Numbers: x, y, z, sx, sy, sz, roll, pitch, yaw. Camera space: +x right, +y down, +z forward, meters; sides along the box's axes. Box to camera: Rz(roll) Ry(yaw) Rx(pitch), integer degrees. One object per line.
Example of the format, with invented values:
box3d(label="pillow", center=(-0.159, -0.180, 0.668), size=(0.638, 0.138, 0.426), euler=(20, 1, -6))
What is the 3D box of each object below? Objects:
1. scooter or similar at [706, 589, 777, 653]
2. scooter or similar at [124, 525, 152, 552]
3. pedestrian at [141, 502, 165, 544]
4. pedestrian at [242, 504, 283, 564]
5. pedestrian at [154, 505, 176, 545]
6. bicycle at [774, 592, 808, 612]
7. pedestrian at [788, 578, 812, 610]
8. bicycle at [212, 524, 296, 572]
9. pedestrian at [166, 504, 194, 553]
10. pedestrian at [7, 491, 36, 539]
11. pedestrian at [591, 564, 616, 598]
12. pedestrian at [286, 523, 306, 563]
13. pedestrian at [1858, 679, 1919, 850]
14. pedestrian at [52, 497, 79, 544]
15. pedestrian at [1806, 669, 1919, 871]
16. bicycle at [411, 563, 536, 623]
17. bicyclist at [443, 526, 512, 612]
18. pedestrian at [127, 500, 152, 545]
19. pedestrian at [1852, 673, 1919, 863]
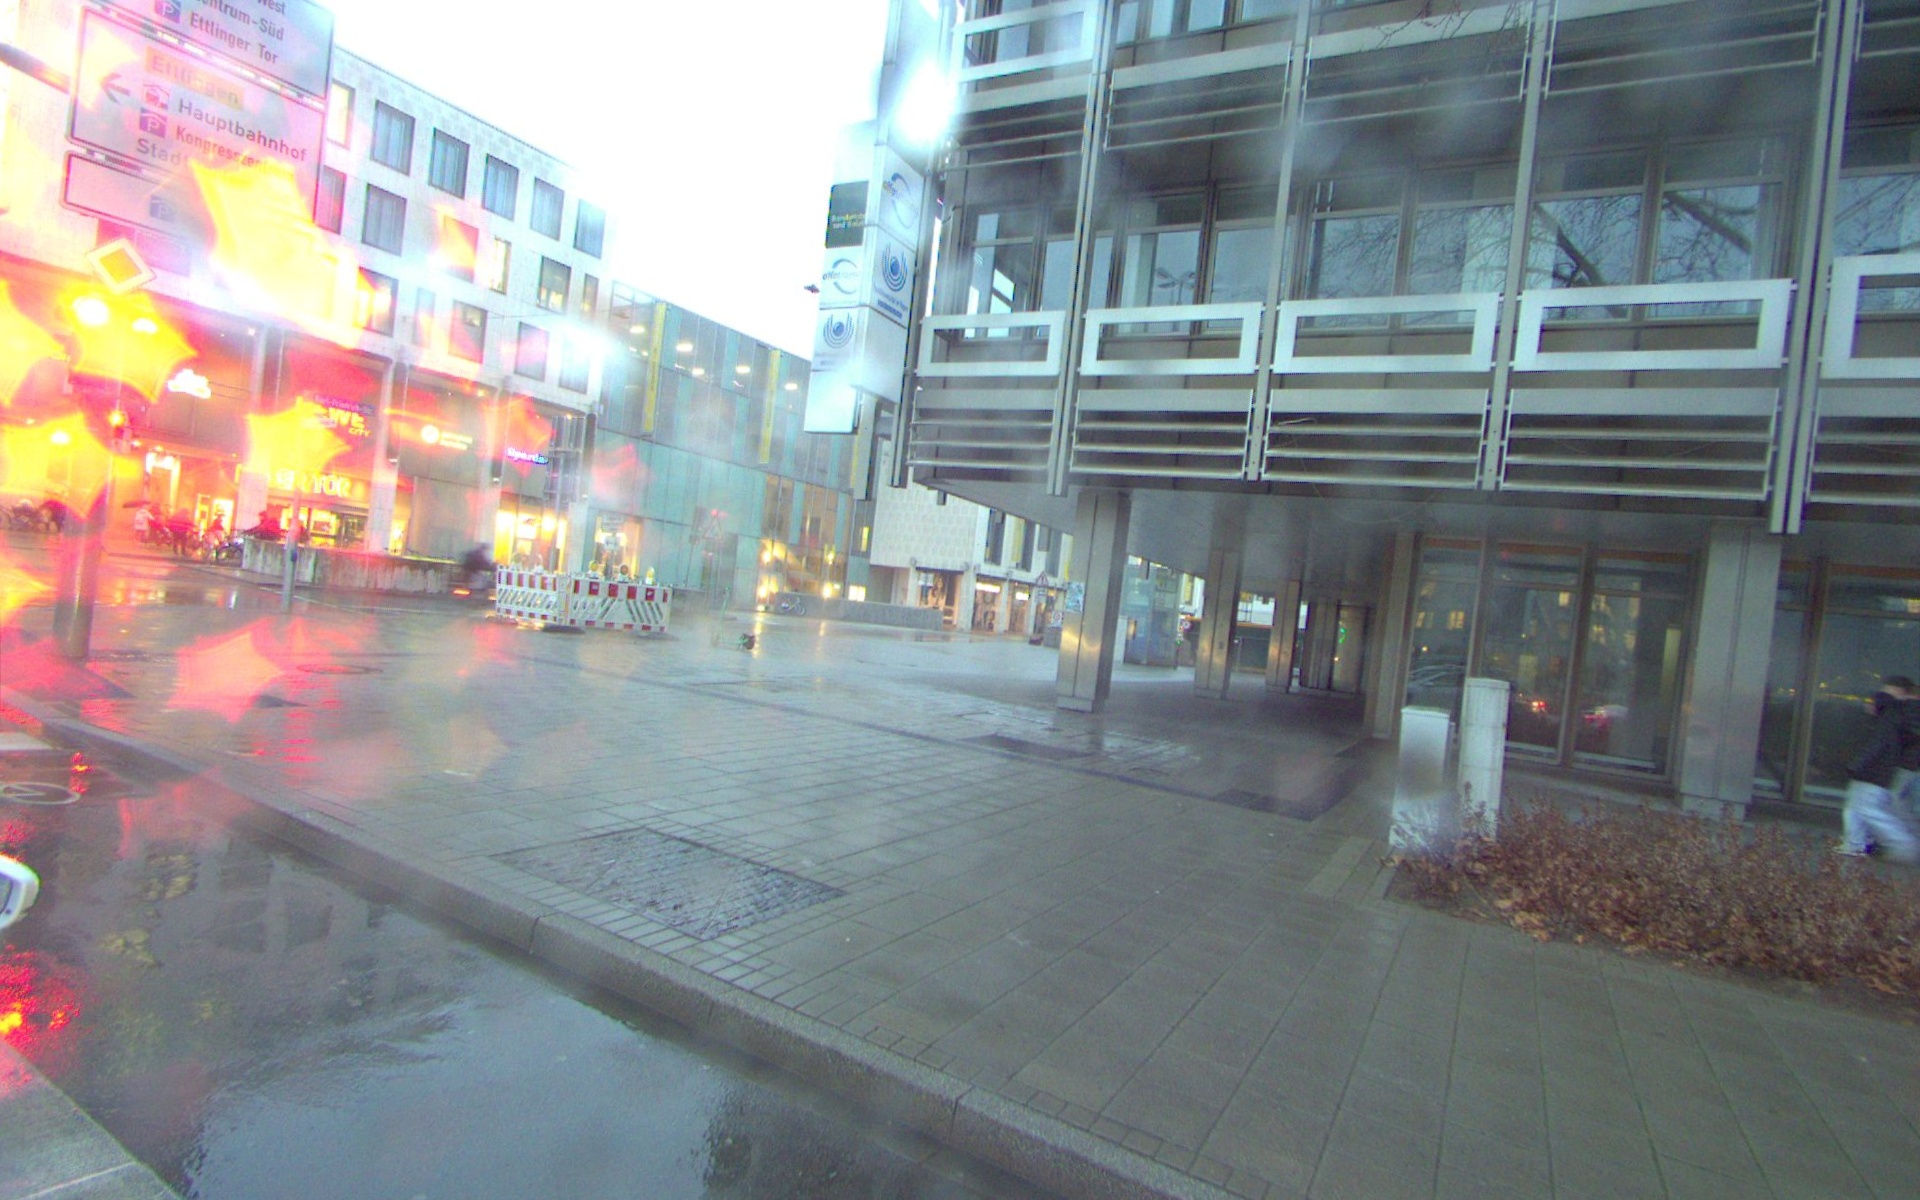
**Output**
box3d(label="scooter or similar", center=(-4.394, 0.423, 20.255), size=(1.215, 1.144, 0.606), euler=(7, 0, 32))
box3d(label="scooter or similar", center=(-33.422, -2.504, 40.920), size=(0.394, 1.006, 0.741), euler=(7, 0, 33))
box3d(label="pedestrian", center=(-35.343, -3.361, 44.055), size=(0.529, 1.739, 0.500), euler=(6, 1, -21))
box3d(label="pedestrian", center=(-20.148, -1.914, 29.050), size=(0.778, 1.615, 0.605), euler=(6, 1, -43))
box3d(label="pedestrian", center=(-36.162, -3.389, 45.774), size=(0.529, 1.739, 0.500), euler=(6, 1, -21))
box3d(label="bicycle", center=(-10.377, 0.120, 61.614), size=(2.101, 1.046, 0.616), euler=(6, 0, 33))
box3d(label="pedestrian", center=(-10.988, -0.422, 69.091), size=(1.006, 2.037, 0.906), euler=(6, -1, 31))
box3d(label="bicycle", center=(-20.303, -1.486, 28.935), size=(1.839, 1.107, 0.610), euler=(7, 0, -44))
box3d(label="pedestrian", center=(-28.359, -2.604, 36.602), size=(0.529, 1.706, 0.546), euler=(6, 1, -21))
box3d(label="pedestrian", center=(-35.612, -3.208, 38.176), size=(0.529, 1.739, 0.500), euler=(6, 1, -21))
box3d(label="pedestrian", center=(-18.336, -0.972, 51.763), size=(0.697, 1.650, 0.795), euler=(6, -1, 31))
box3d(label="pedestrian", center=(-30.195, -2.593, 45.763), size=(0.369, 1.782, 0.511), euler=(7, 1, 38))
box3d(label="pedestrian", center=(9.295, 1.594, 9.694), size=(0.733, 1.584, 0.484), euler=(7, 1, 30))
box3d(label="pedestrian", center=(-34.833, -3.070, 39.177), size=(0.529, 1.739, 0.500), euler=(6, 1, -21))
box3d(label="pedestrian", center=(8.363, 1.519, 9.102), size=(0.859, 1.689, 0.500), euler=(7, 1, 32))
box3d(label="bicycle", center=(-10.454, -0.131, 21.730), size=(0.608, 1.045, 2.374), euler=(7, 0, 34))
box3d(label="bicyclist", center=(-10.403, -0.662, 21.721), size=(0.608, 1.718, 1.034), euler=(7, 1, 34))
box3d(label="pedestrian", center=(-33.260, -3.118, 40.790), size=(0.529, 1.739, 0.500), euler=(6, 1, -21))
box3d(label="pedestrian", center=(8.889, 1.565, 9.336), size=(0.702, 1.689, 0.378), euler=(7, 1, 32))
